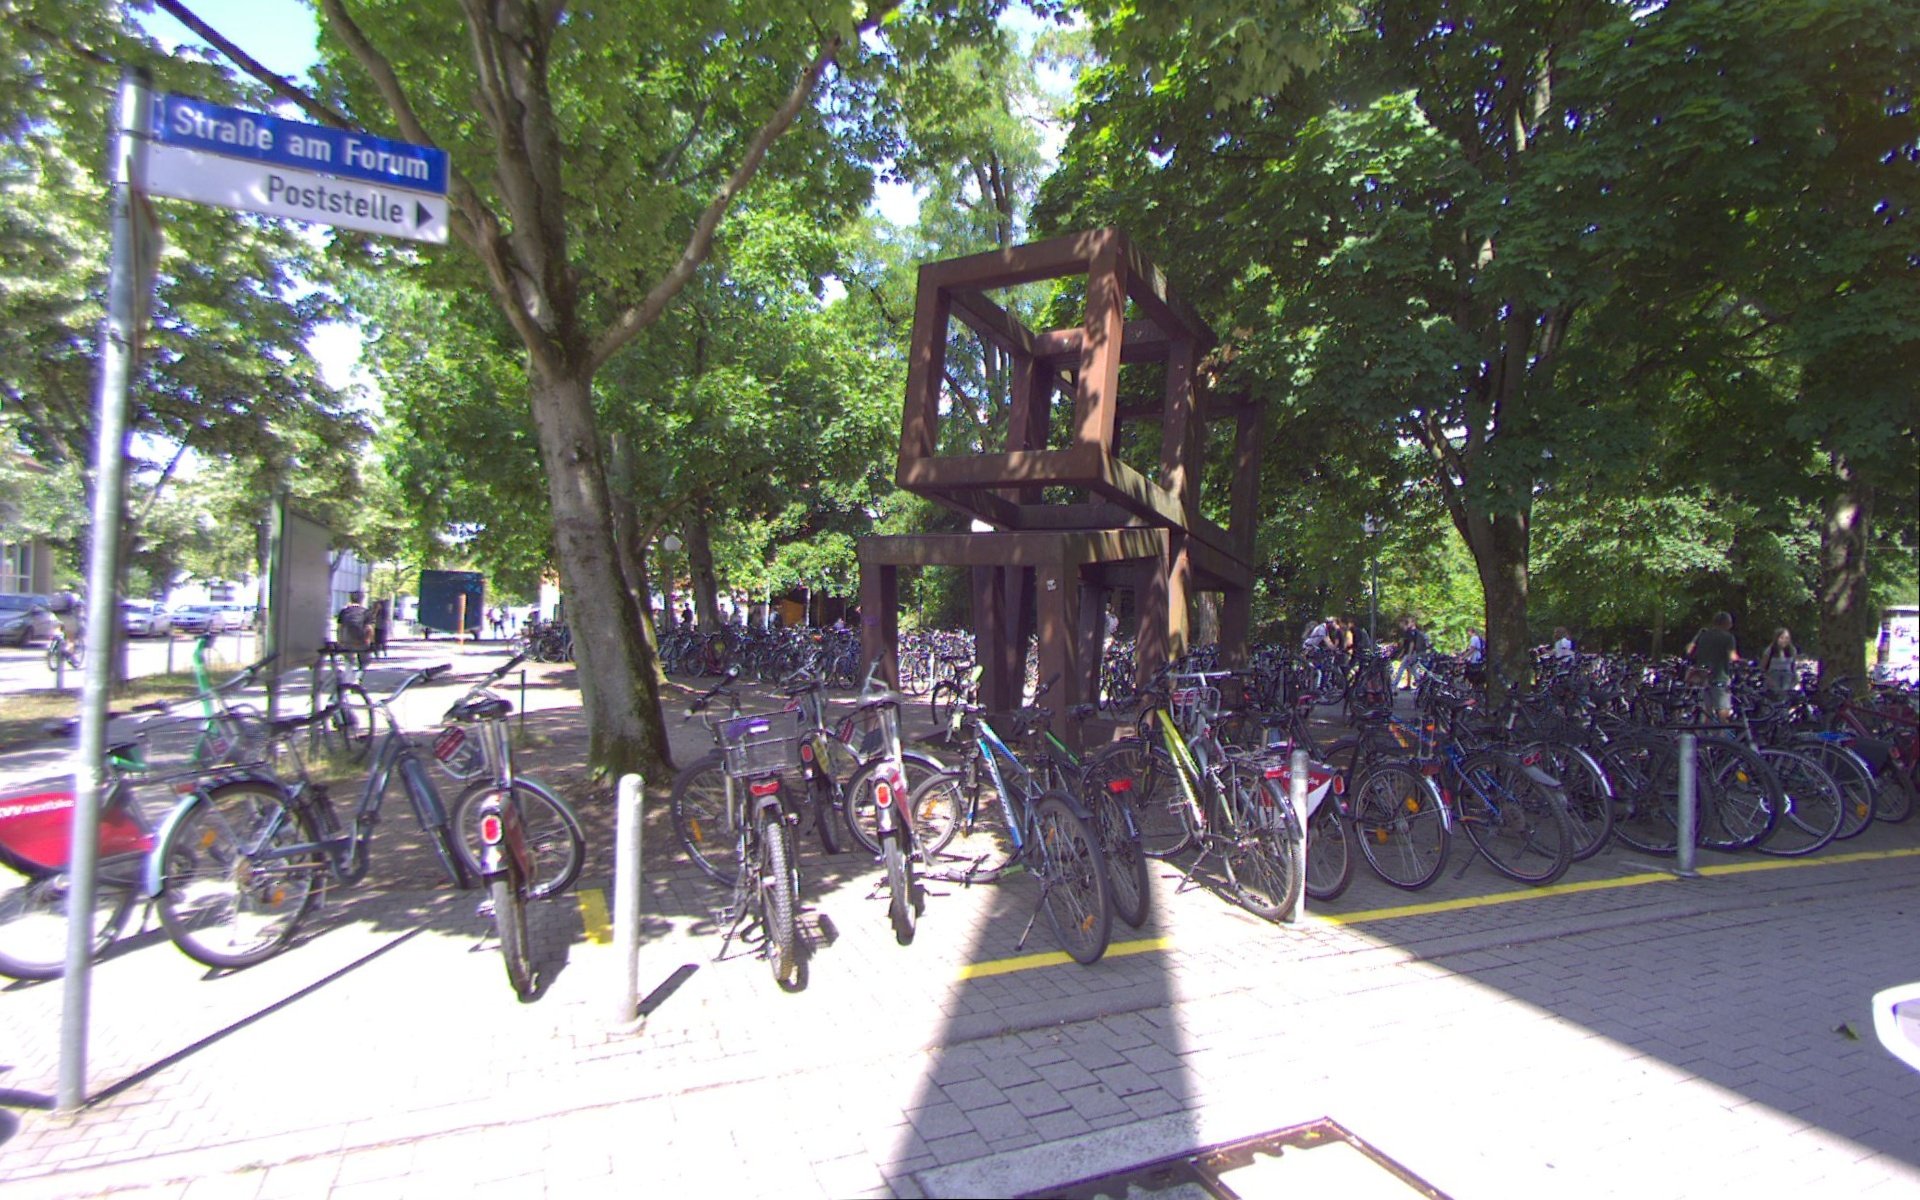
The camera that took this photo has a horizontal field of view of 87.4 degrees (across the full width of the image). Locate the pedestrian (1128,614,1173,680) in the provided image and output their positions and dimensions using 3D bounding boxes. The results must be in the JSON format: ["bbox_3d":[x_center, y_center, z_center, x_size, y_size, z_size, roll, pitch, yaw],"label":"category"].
[{"bbox_3d":[5.360,1.304,28.254,0.894,1.798,0.765,2,0,44],"label":"pedestrian"}]

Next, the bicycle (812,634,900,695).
[{"bbox_3d":[-2.028,1.263,19.877,0.494,1.122,1.999,2,-1,35],"label":"bicycle"}]

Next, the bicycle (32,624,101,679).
[{"bbox_3d":[-19.454,1.090,21.919,0.597,1.122,2.058,1,-1,-27],"label":"bicycle"}]

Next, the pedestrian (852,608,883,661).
[{"bbox_3d":[-3.242,1.212,35.077,0.759,1.798,0.902,2,0,-24],"label":"pedestrian"}]

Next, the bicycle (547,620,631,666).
[{"bbox_3d":[-9.494,1.116,25.781,0.495,1.122,2.022,2,-1,38],"label":"bicycle"}]

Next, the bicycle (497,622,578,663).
[{"bbox_3d":[-11.950,1.218,28.448,2.016,1.122,0.496,3,-1,-44],"label":"bicycle"}]

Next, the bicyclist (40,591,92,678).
[{"bbox_3d":[-19.389,0.742,21.807,0.597,1.825,0.892,1,-1,-27],"label":"bicyclist"}]

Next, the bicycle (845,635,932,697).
[{"bbox_3d":[-1.365,1.257,19.525,0.494,1.122,1.999,2,-1,35],"label":"bicycle"}]

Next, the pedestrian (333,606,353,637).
[{"bbox_3d":[-36.747,1.268,59.831,0.894,1.798,0.766,2,0,43],"label":"pedestrian"}]

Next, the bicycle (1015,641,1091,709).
[{"bbox_3d":[1.680,1.302,17.874,0.494,1.122,1.902,2,-1,32],"label":"bicycle"}]

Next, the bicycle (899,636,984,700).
[{"bbox_3d":[-0.330,1.272,19.132,0.494,1.122,1.999,2,-1,35],"label":"bicycle"}]

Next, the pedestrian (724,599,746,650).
[{"bbox_3d":[-8.077,0.877,36.050,0.497,1.794,0.665,2,0,-30],"label":"pedestrian"}]

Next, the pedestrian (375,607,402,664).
[{"bbox_3d":[-15.926,0.994,27.998,0.563,1.540,0.835,2,0,-26],"label":"pedestrian"}]

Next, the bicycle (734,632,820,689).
[{"bbox_3d":[-3.835,1.258,21.203,0.494,1.122,2.025,2,-1,33],"label":"bicycle"}]

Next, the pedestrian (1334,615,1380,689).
[{"bbox_3d":[9.947,1.288,25.185,0.891,1.798,0.768,2,0,32],"label":"pedestrian"}]

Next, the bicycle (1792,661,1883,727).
[{"bbox_3d":[16.419,1.740,18.848,0.464,1.098,1.701,3,-1,11],"label":"bicycle"}]

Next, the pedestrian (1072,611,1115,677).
[{"bbox_3d":[3.783,1.230,28.457,0.894,1.798,0.766,2,0,43],"label":"pedestrian"}]

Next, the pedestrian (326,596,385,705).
[{"bbox_3d":[-9.792,0.802,16.304,0.719,1.706,0.868,2,-1,-27],"label":"pedestrian"}]

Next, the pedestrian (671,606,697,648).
[{"bbox_3d":[-12.302,1.203,44.768,0.764,1.826,0.896,3,0,-42],"label":"pedestrian"}]

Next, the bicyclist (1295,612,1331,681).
[{"bbox_3d":[8.447,1.096,24.031,0.708,1.589,0.595,2,0,25],"label":"bicyclist"}]

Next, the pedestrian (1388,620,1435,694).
[{"bbox_3d":[10.835,1.342,24.099,0.891,1.702,0.768,2,0,32],"label":"pedestrian"}]

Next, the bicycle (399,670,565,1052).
[{"bbox_3d":[-1.901,0.896,4.068,0.490,1.123,1.620,0,0,-24],"label":"bicycle"}]

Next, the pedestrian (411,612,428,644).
[{"bbox_3d":[-27.056,1.408,50.316,0.613,1.540,0.732,2,0,-22],"label":"pedestrian"}]

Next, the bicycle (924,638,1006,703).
[{"bbox_3d":[0.124,1.302,18.853,0.494,1.122,1.901,2,-1,35],"label":"bicycle"}]

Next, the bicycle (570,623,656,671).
[{"bbox_3d":[-8.593,1.176,24.948,0.495,1.122,2.022,2,-1,38],"label":"bicycle"}]

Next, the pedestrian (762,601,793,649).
[{"bbox_3d":[-7.038,0.967,38.755,0.764,1.798,0.896,3,0,-42],"label":"pedestrian"}]

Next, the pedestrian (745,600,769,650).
[{"bbox_3d":[-7.363,0.909,36.404,0.603,1.798,0.653,2,0,-32],"label":"pedestrian"}]

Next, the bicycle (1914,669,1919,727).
[{"bbox_3d":[18.294,1.866,18.397,0.464,1.098,1.700,2,-1,17],"label":"bicycle"}]

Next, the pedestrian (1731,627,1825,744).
[{"bbox_3d":[12.804,1.310,15.761,0.754,1.725,0.908,2,0,10],"label":"pedestrian"}]

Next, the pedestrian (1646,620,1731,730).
[{"bbox_3d":[11.988,1.222,16.530,0.895,1.725,0.765,2,0,-26],"label":"pedestrian"}]

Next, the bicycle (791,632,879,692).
[{"bbox_3d":[-2.494,1.232,20.233,0.494,1.122,1.999,2,-1,35],"label":"bicycle"}]

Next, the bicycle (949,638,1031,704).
[{"bbox_3d":[0.572,1.271,18.393,0.494,1.122,1.901,2,-1,35],"label":"bicycle"}]

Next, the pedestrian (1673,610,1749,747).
[{"bbox_3d":[10.516,1.078,14.089,0.757,1.830,0.708,2,0,33],"label":"pedestrian"}]

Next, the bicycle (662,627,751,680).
[{"bbox_3d":[-5.678,1.191,22.605,0.495,1.122,2.022,2,-1,38],"label":"bicycle"}]

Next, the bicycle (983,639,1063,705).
[{"bbox_3d":[1.168,1.294,18.313,0.494,1.122,1.901,2,-1,35],"label":"bicycle"}]

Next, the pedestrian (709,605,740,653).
[{"bbox_3d":[-9.032,1.128,38.562,0.764,1.798,0.896,3,0,-42],"label":"pedestrian"}]

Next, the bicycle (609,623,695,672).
[{"bbox_3d":[-7.384,1.138,24.163,0.495,1.122,2.022,2,-1,38],"label":"bicycle"}]

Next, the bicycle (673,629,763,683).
[{"bbox_3d":[-5.320,1.221,22.203,0.495,1.122,2.022,2,-1,38],"label":"bicycle"}]

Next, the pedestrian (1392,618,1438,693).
[{"bbox_3d":[11.321,1.372,24.994,0.891,1.798,0.768,2,0,32],"label":"pedestrian"}]

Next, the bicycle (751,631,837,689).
[{"bbox_3d":[-3.437,1.239,20.936,0.494,1.122,2.025,2,-1,33],"label":"bicycle"}]

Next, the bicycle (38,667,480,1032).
[{"bbox_3d":[-2.781,0.895,4.257,0.578,1.123,1.747,0,0,3],"label":"bicycle"}]

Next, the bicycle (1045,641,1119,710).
[{"bbox_3d":[2.167,1.292,17.646,0.494,1.122,1.902,2,-1,32],"label":"bicycle"}]

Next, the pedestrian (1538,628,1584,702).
[{"bbox_3d":[14.418,1.542,24.101,0.891,1.702,0.768,2,0,32],"label":"pedestrian"}]

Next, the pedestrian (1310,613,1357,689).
[{"bbox_3d":[9.188,1.242,24.698,0.891,1.798,0.768,2,0,32],"label":"pedestrian"}]

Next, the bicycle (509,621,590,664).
[{"bbox_3d":[-11.194,1.173,27.467,0.495,1.122,2.022,2,-1,38],"label":"bicycle"}]

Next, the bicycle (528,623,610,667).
[{"bbox_3d":[-10.345,1.201,26.666,0.495,1.122,2.022,2,-1,38],"label":"bicycle"}]

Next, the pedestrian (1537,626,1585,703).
[{"bbox_3d":[13.988,1.488,23.375,0.891,1.702,0.768,2,0,32],"label":"pedestrian"}]

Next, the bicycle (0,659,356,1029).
[{"bbox_3d":[-3.416,0.880,4.260,0.626,1.175,1.630,0,0,4],"label":"bicycle"}]

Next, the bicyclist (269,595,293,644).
[{"bbox_3d":[-26.426,0.762,39.117,0.662,1.900,0.821,1,-1,-30],"label":"bicyclist"}]

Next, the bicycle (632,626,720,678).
[{"bbox_3d":[-6.575,1.202,23.365,0.495,1.122,2.022,2,-1,38],"label":"bicycle"}]

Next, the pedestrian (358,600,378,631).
[{"bbox_3d":[-35.817,0.924,60.818,0.894,1.798,0.766,2,0,43],"label":"pedestrian"}]

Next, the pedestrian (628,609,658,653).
[{"bbox_3d":[-13.133,1.282,41.588,0.913,1.798,0.776,3,0,-42],"label":"pedestrian"}]

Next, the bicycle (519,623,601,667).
[{"bbox_3d":[-10.786,1.222,27.148,0.495,1.122,2.022,2,-1,38],"label":"bicycle"}]

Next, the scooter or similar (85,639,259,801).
[{"bbox_3d":[-6.401,0.932,8.220,0.287,1.210,1.186,1,-1,11],"label":"scooter or similar"}]

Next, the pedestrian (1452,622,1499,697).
[{"bbox_3d":[12.364,1.412,24.091,0.891,1.702,0.768,2,0,32],"label":"pedestrian"}]

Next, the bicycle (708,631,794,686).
[{"bbox_3d":[-4.468,1.242,21.623,0.494,1.122,2.025,2,-1,33],"label":"bicycle"}]

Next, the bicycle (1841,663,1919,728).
[{"bbox_3d":[17.314,1.764,18.808,0.464,1.098,1.701,2,-1,14],"label":"bicycle"}]
